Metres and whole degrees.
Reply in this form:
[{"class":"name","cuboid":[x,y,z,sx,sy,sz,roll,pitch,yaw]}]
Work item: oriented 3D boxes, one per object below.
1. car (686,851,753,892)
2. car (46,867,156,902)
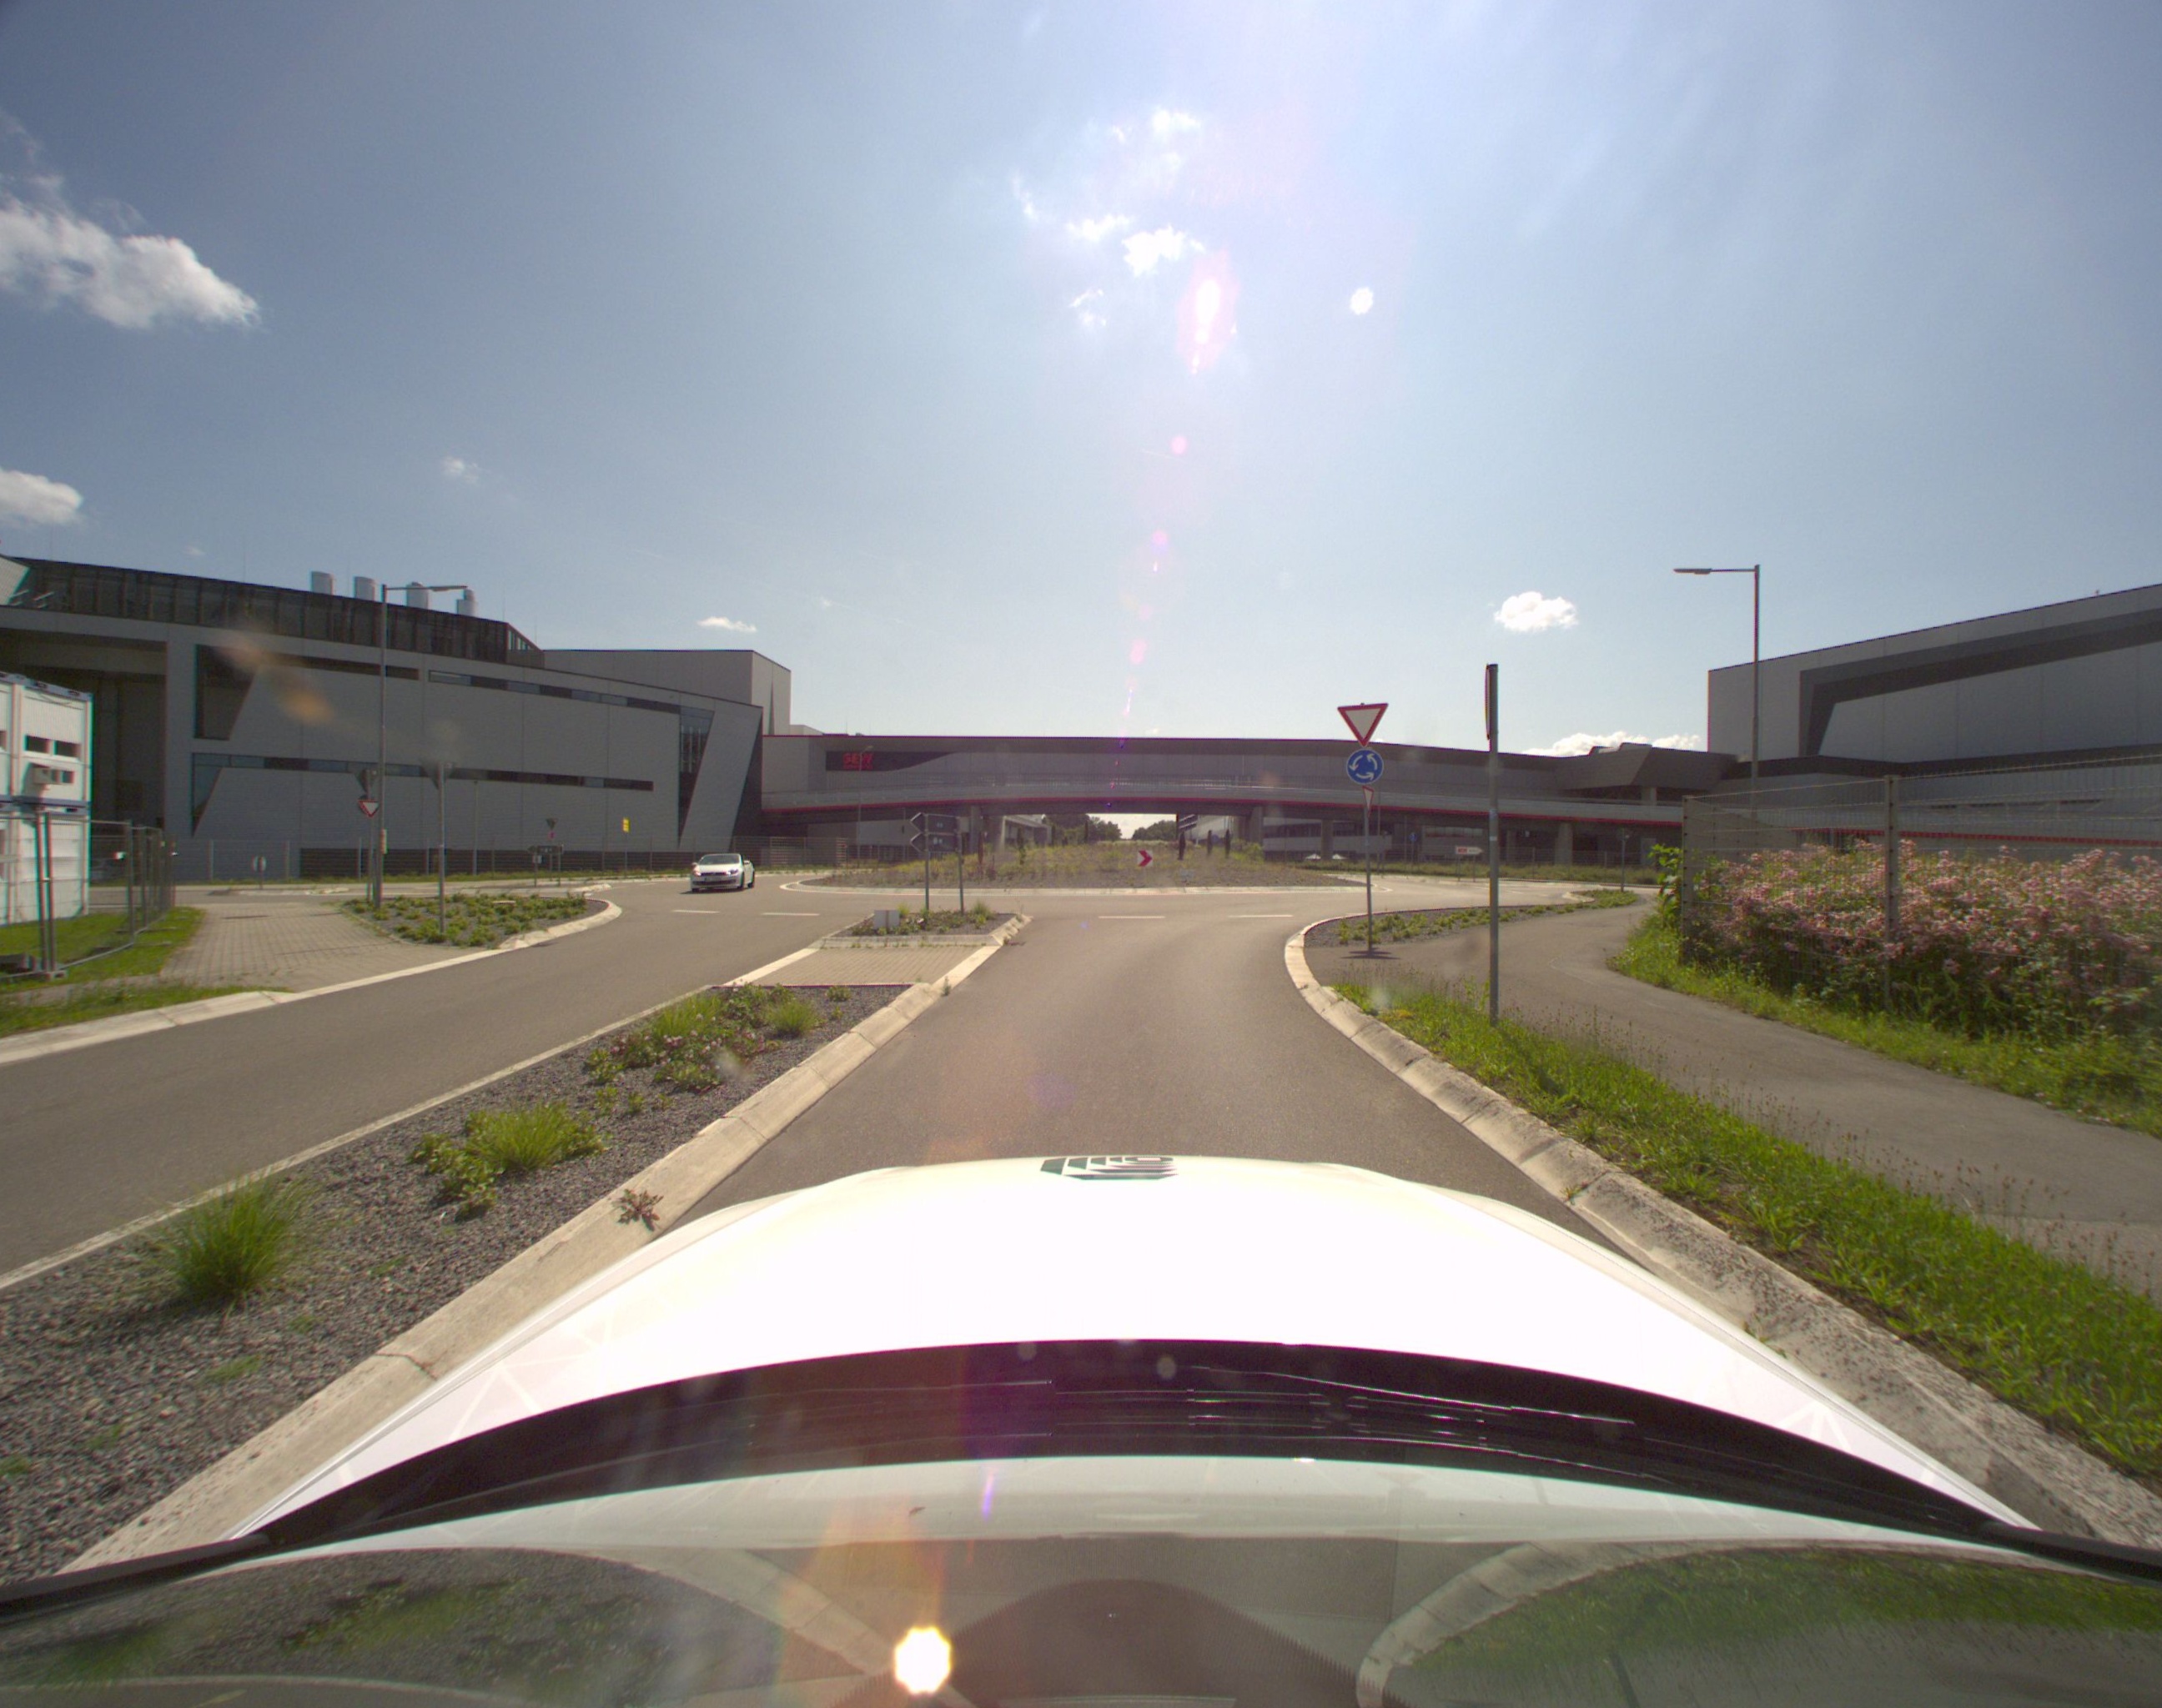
[{"class":"car","cuboid":[-13.495,0.638,30.611,1.774,1.428,4.029,0,-1,-16]},{"class":"car","cuboid":[-52.379,1.610,43.656,2.002,1.690,4.281,1,0,-23]}]
